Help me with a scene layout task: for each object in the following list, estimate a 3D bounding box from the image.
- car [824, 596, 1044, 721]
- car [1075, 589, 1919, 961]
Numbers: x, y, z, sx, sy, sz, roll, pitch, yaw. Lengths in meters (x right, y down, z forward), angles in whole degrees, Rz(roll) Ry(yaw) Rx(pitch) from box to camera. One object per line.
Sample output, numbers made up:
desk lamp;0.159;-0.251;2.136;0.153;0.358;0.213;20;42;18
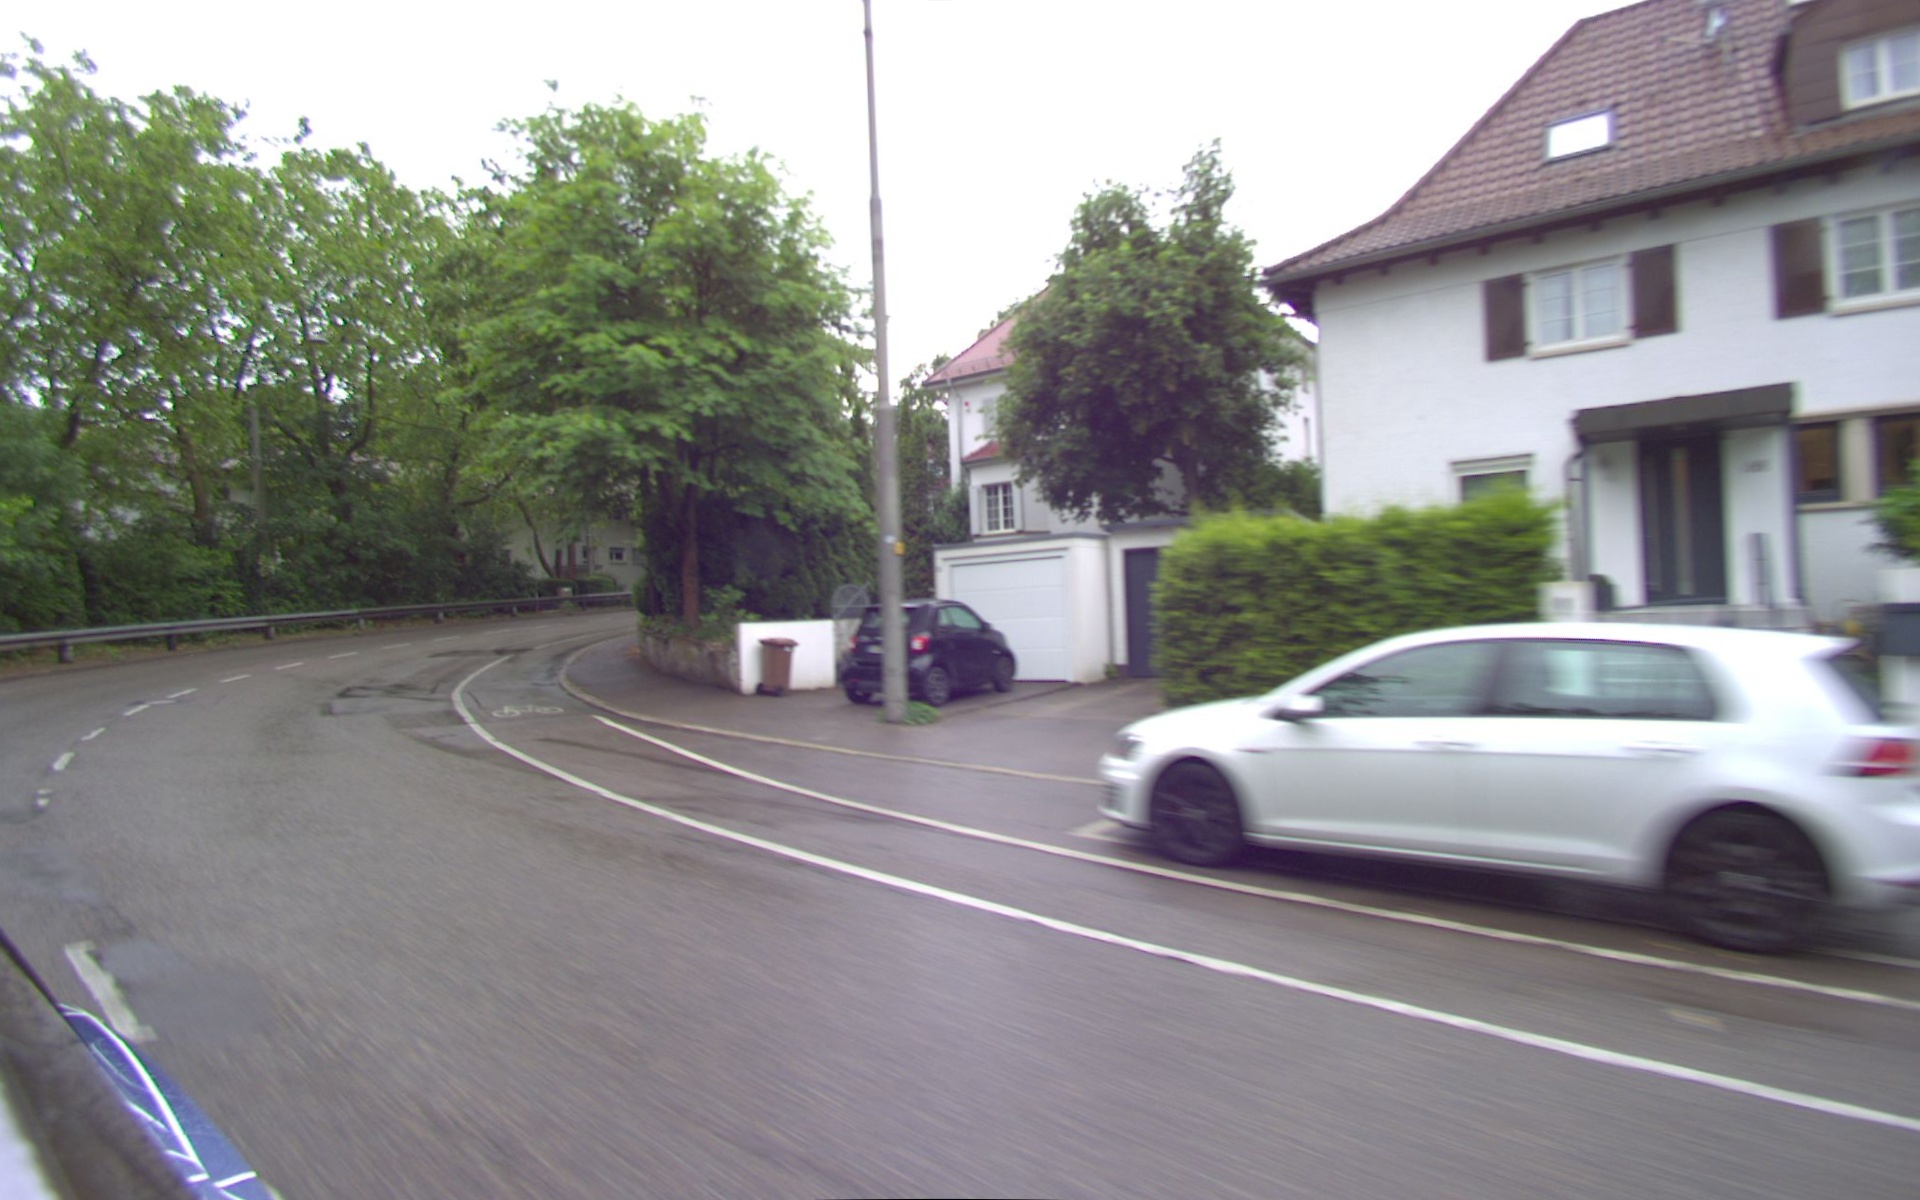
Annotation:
car;-0.309;0.827;15.918;1.818;1.531;3.309;-1;3;35
car;2.961;0.790;5.751;4.277;1.432;1.716;-4;-1;38
